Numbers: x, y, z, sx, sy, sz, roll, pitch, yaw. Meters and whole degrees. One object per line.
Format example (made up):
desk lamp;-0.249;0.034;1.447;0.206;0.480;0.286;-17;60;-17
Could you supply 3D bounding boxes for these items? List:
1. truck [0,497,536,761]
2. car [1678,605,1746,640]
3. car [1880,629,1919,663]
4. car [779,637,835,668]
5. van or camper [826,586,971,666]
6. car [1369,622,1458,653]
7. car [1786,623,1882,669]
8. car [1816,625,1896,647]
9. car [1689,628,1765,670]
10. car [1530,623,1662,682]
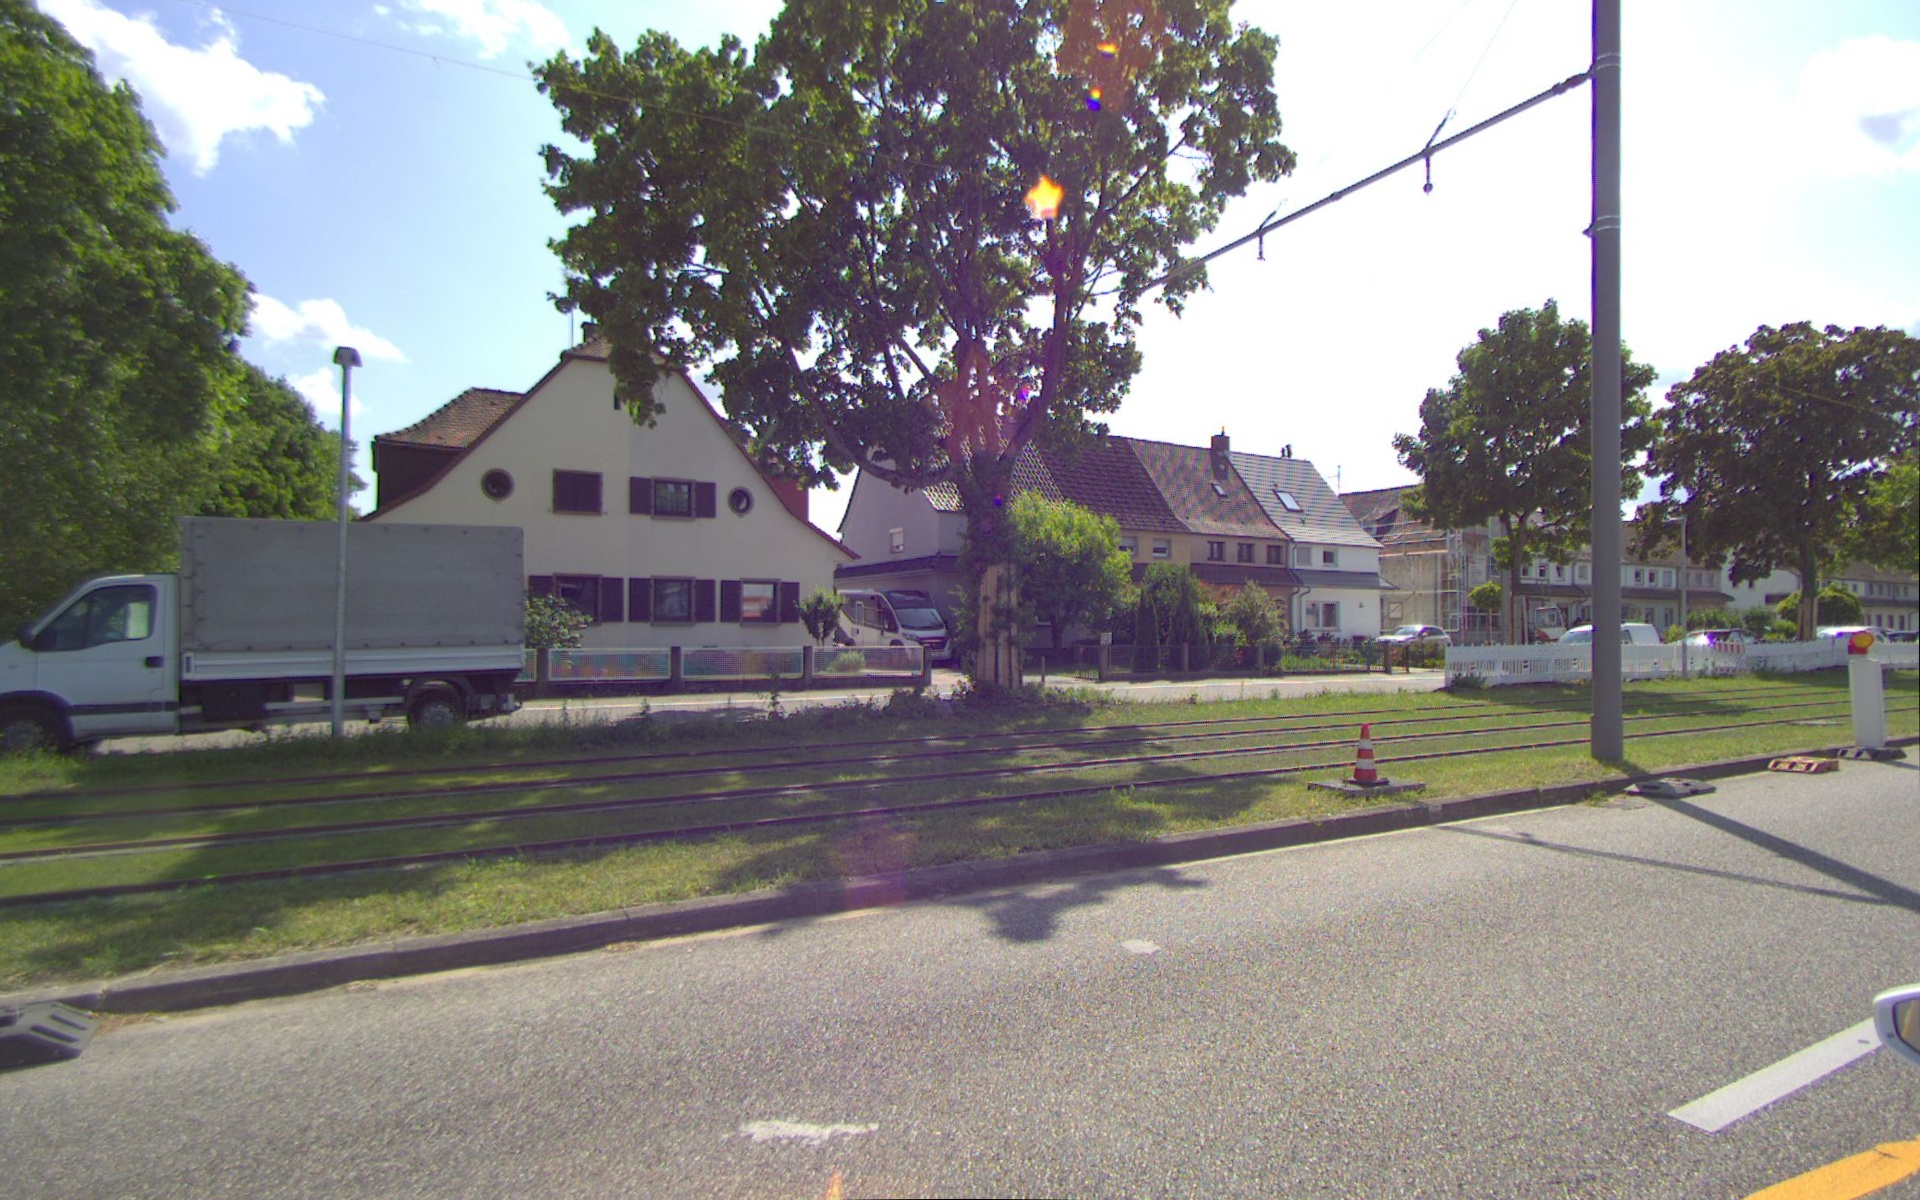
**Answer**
truck;-8.864;0.366;13.091;5.882;2.842;2.353;2;0;-30
car;46.295;1.399;61.853;3.954;2.040;1.983;2;0;-31
car;40.386;1.934;42.480;3.078;1.395;1.344;2;-3;-31
car;-6.633;2.266;43.520;1.330;1.189;2.846;2;0;-33
van or camper;-2.408;0.875;36.844;2.473;2.667;6.295;2;0;-33
car;20.072;1.673;44.396;4.072;1.291;1.527;2;-3;-31
car;33.425;1.781;38.409;3.854;1.673;1.615;2;-3;-31
car;64.408;2.572;72.272;1.706;1.529;3.966;1;-2;-31
car;25.500;1.639;33.388;2.417;1.365;1.069;2;-3;-27
car;18.703;1.536;29.521;3.954;1.647;1.645;2;-3;-31
